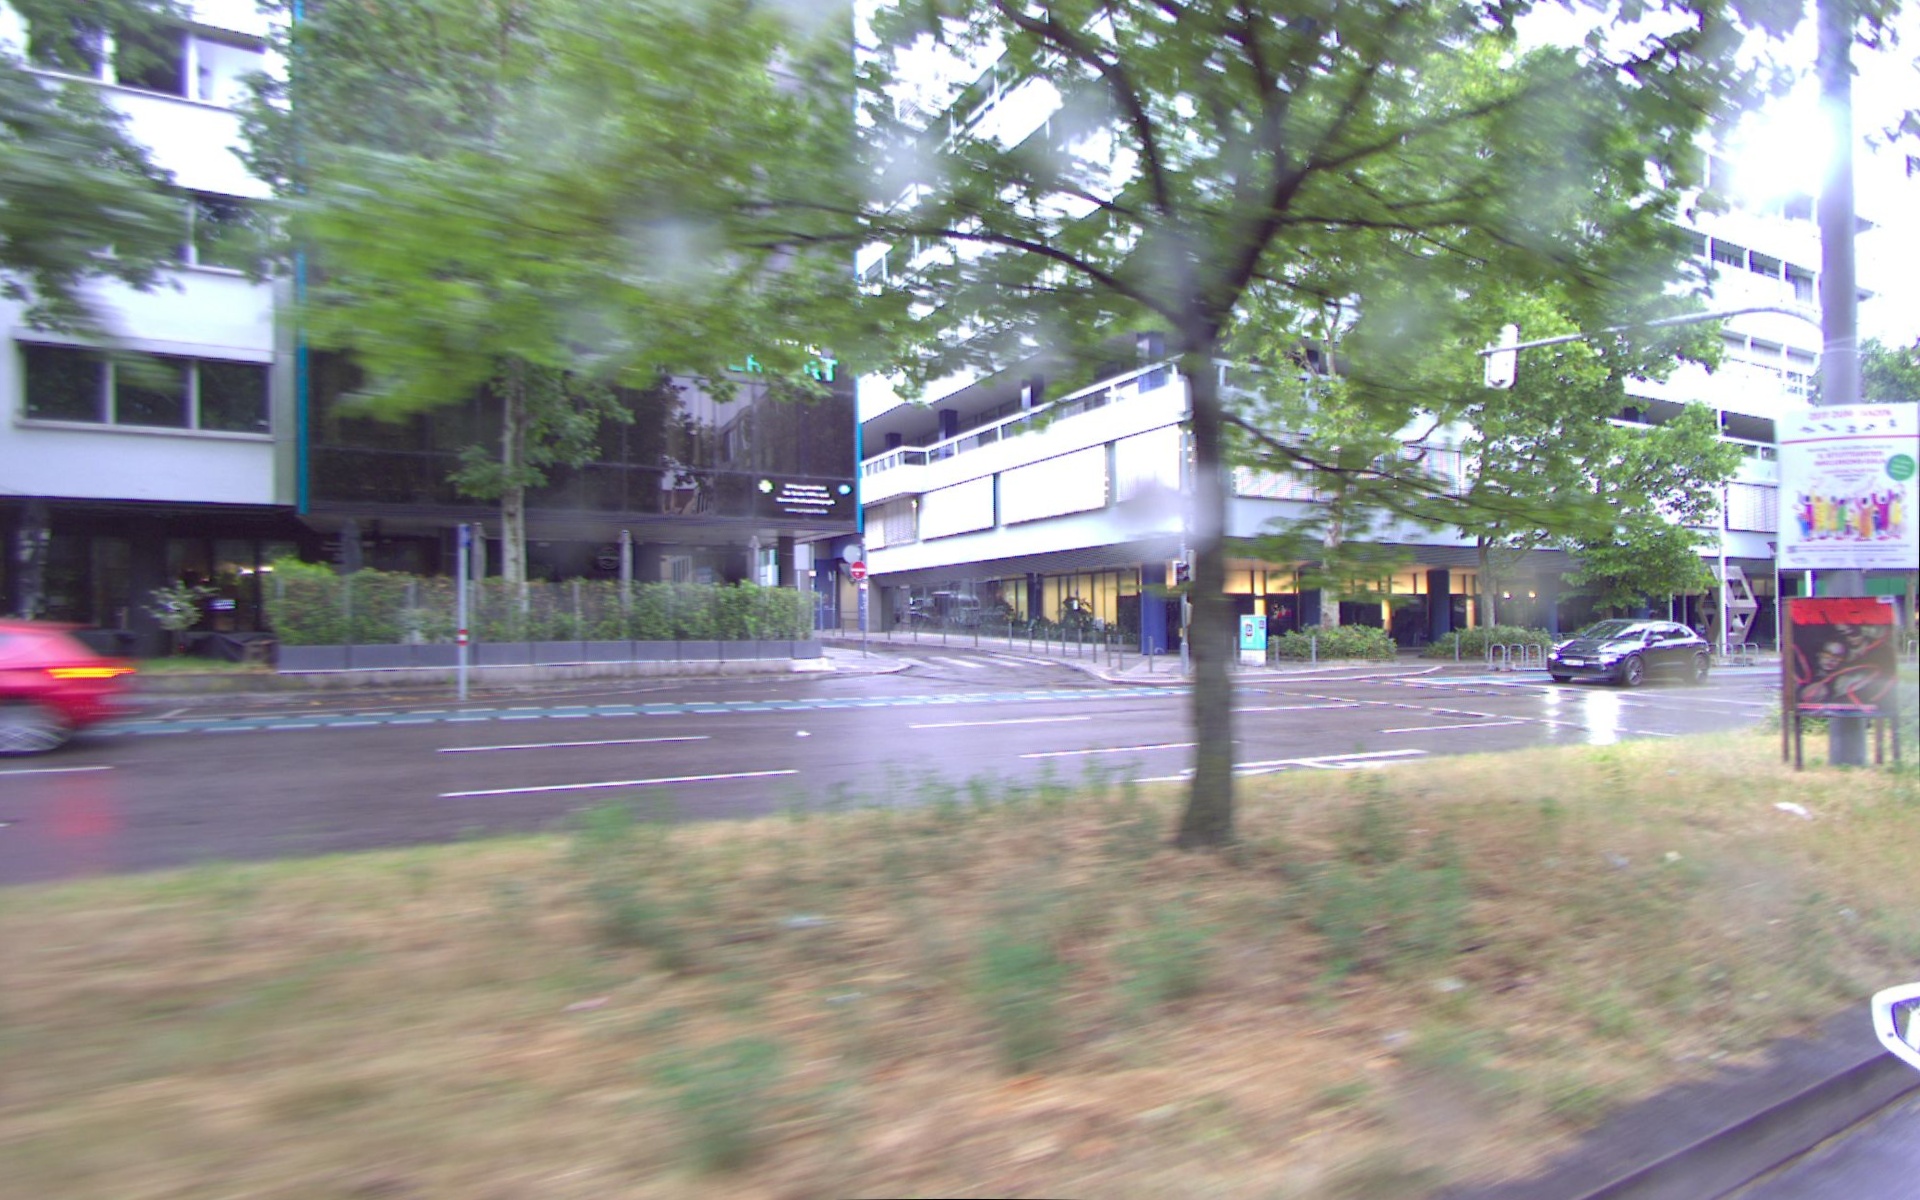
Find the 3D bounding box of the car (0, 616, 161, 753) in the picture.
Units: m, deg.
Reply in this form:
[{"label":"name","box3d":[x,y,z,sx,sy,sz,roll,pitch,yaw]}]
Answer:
[{"label":"car","box3d":[-11.222,0.885,10.609,4.133,1.412,1.607,0,-1,-30]}]

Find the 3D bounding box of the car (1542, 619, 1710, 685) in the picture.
[{"label":"car","box3d":[17.007,1.280,25.644,4.136,1.572,1.823,1,-1,-28]}]
